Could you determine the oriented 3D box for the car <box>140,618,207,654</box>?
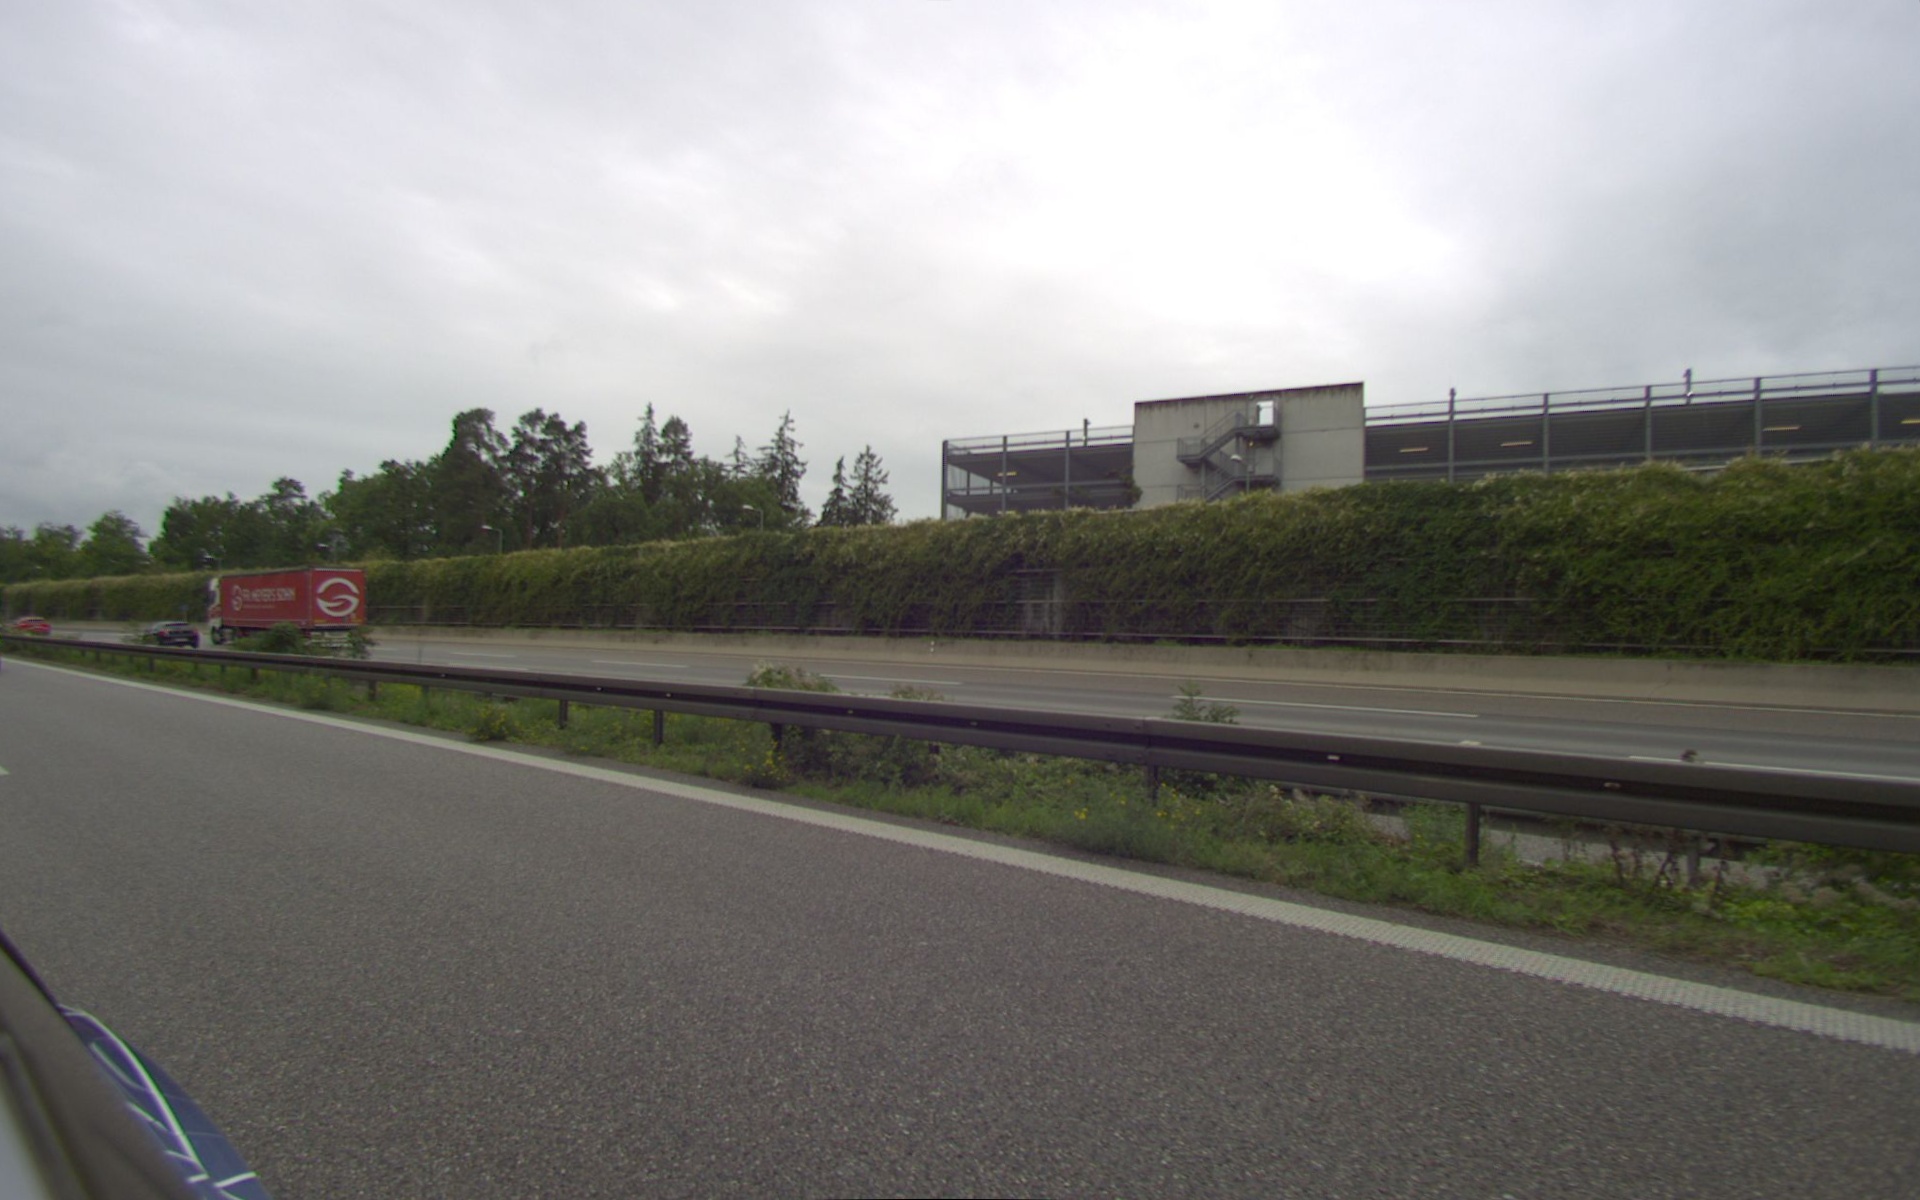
[{"bbox_3d":[-40.998,1.847,52.728,3.996,1.752,1.974,0,0,40],"label":"car"}]

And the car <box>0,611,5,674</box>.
[{"bbox_3d":[-27.388,1.165,27.160,5.436,1.616,1.997,-2,-2,41],"label":"car"}]

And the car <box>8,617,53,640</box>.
[{"bbox_3d":[-70.546,2.123,76.776,4.712,1.581,1.754,0,-4,39],"label":"car"}]

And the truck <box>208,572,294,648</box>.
[{"bbox_3d":[-40.855,0.627,58.255,5.912,4.159,2.641,-1,-2,40],"label":"truck"}]

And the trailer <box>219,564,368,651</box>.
[{"bbox_3d":[-35.891,0.459,54.159,13.674,4.159,2.717,-1,-1,39],"label":"trailer"}]
